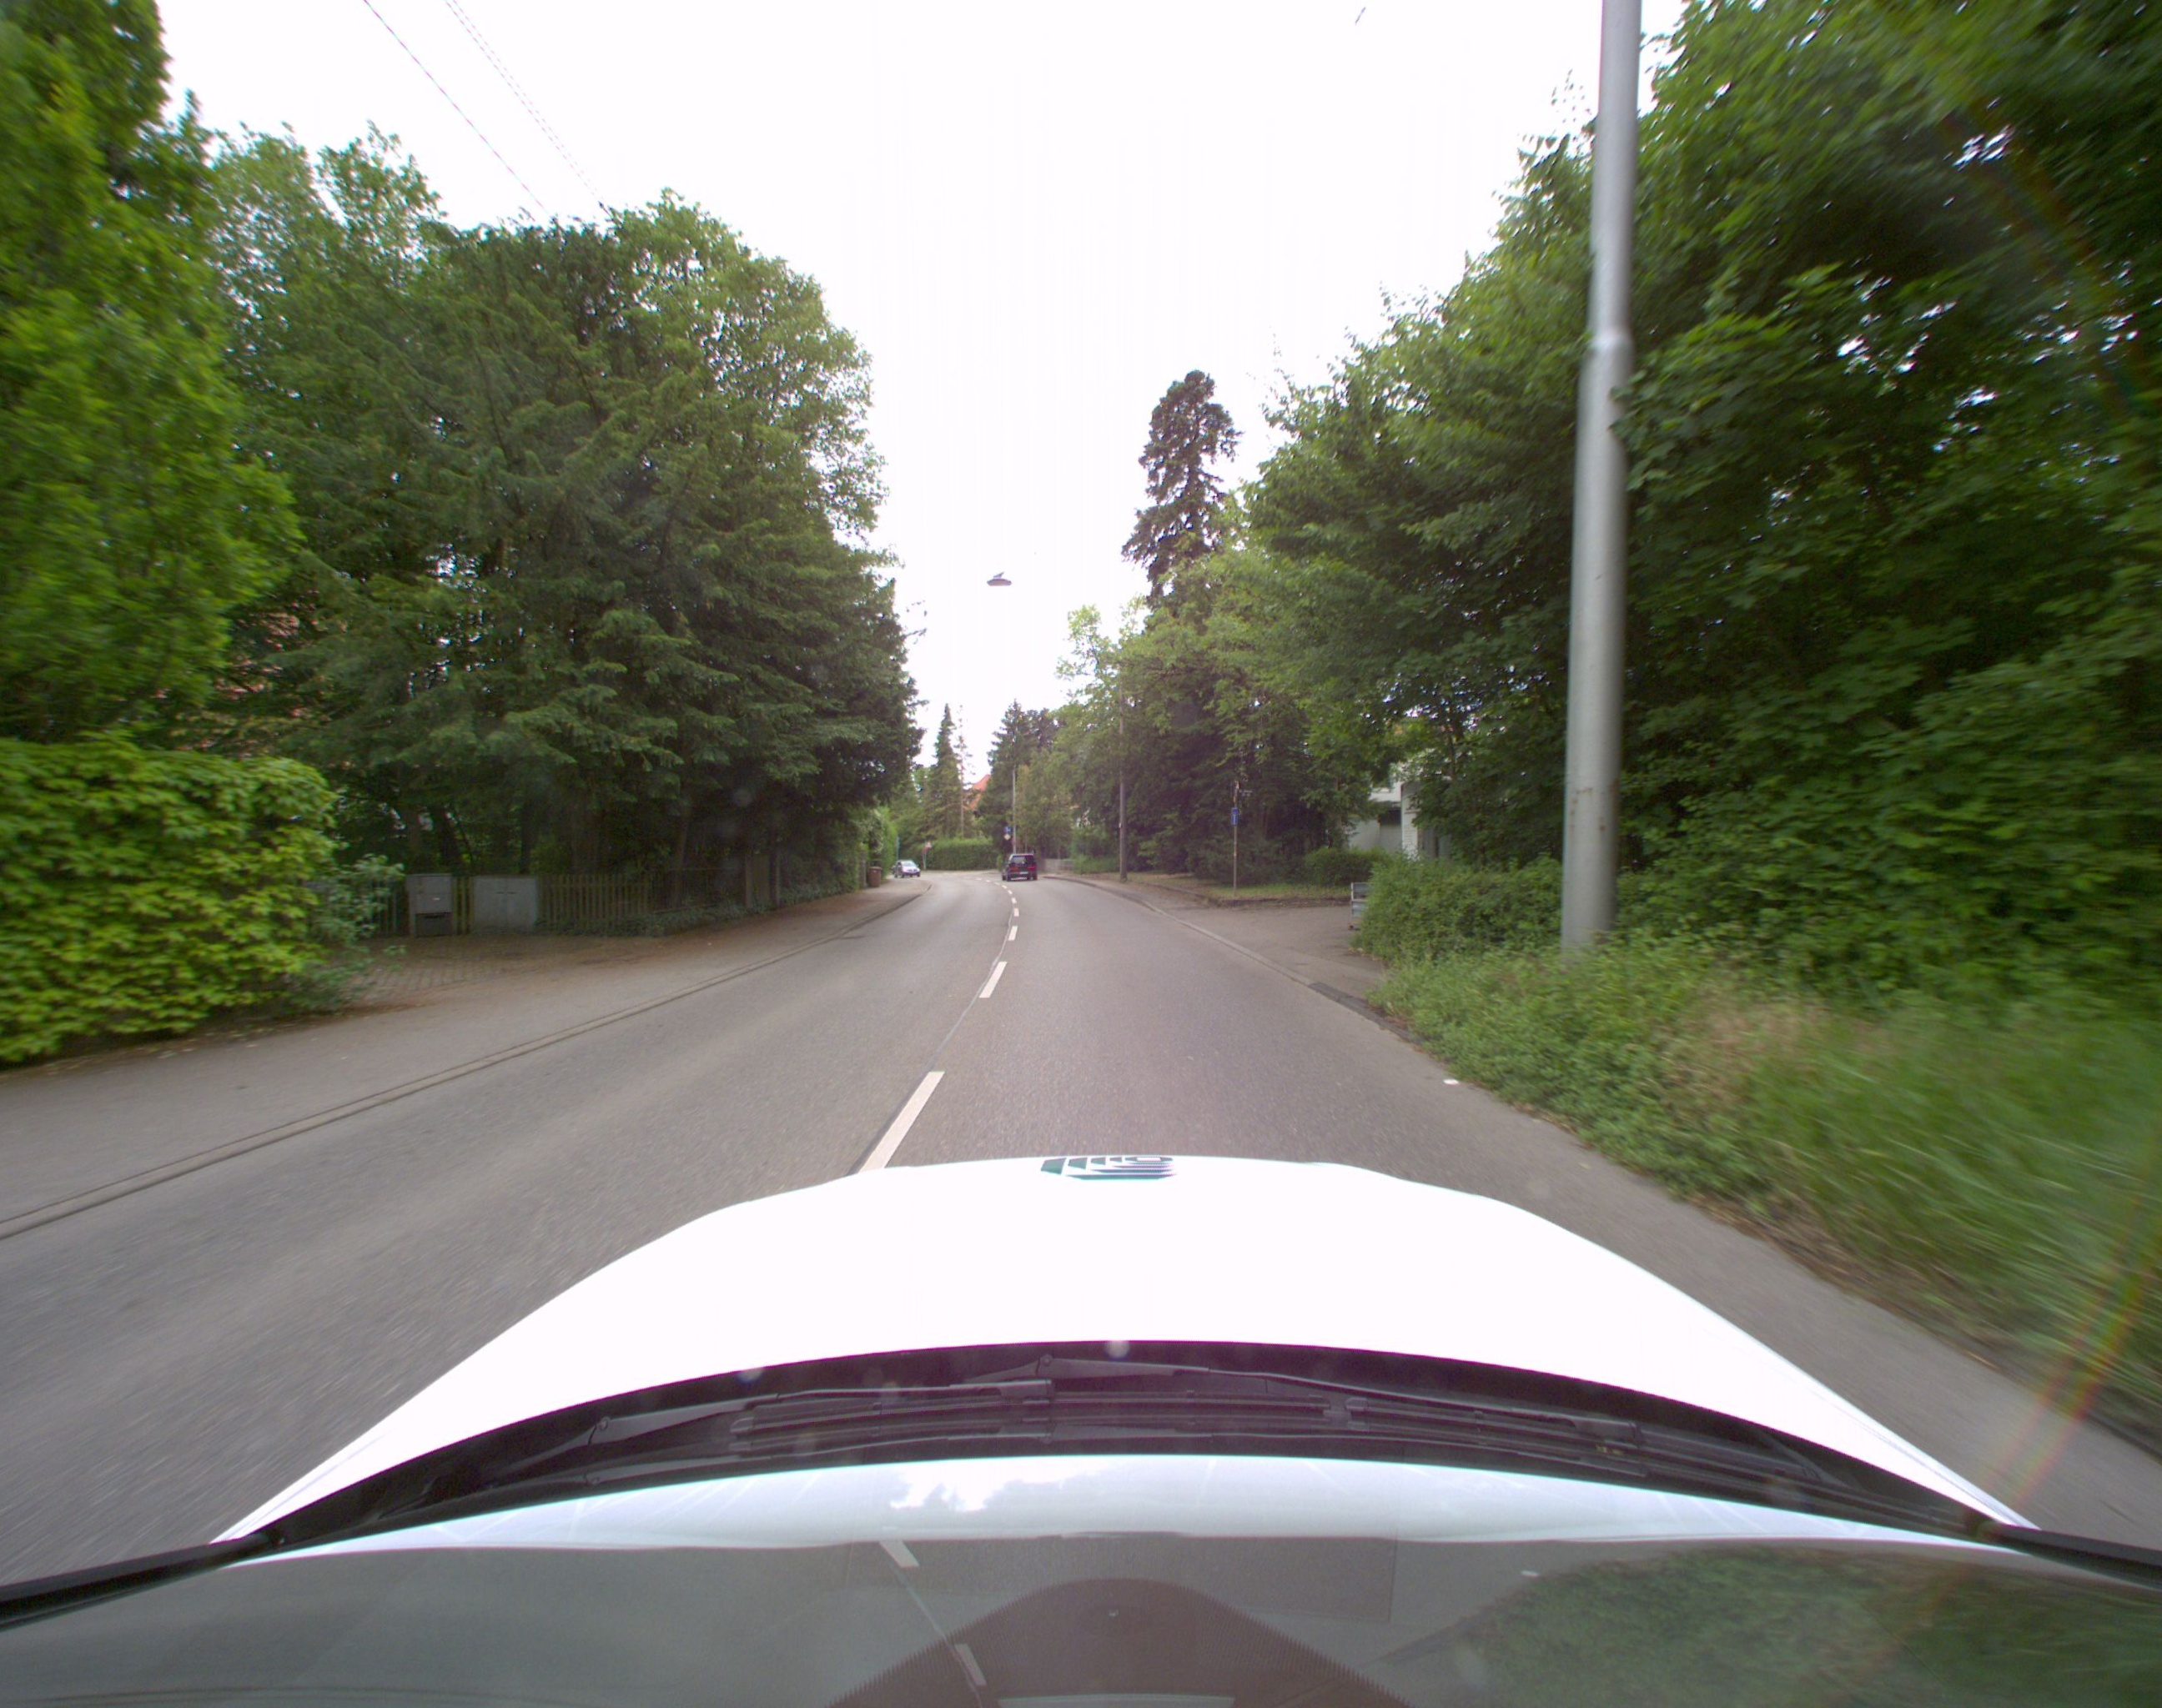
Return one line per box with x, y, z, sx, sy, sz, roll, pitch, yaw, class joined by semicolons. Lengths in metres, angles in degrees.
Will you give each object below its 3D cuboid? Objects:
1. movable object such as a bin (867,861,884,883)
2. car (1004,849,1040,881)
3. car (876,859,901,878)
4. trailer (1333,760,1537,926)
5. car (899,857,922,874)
-10.686;0.938;42.364;0.741;1.141;0.644;1;0;-11;movable object such as a bin
-3.653;0.648;51.350;1.987;1.881;3.999;0;1;-1;car
-17.241;1.274;72.879;1.907;1.454;3.774;-4;1;-17;car
6.565;-0.207;15.291;3.112;2.899;1.590;-1;0;-6;trailer
-16.257;1.074;77.540;1.997;1.618;3.980;0;0;-15;car
